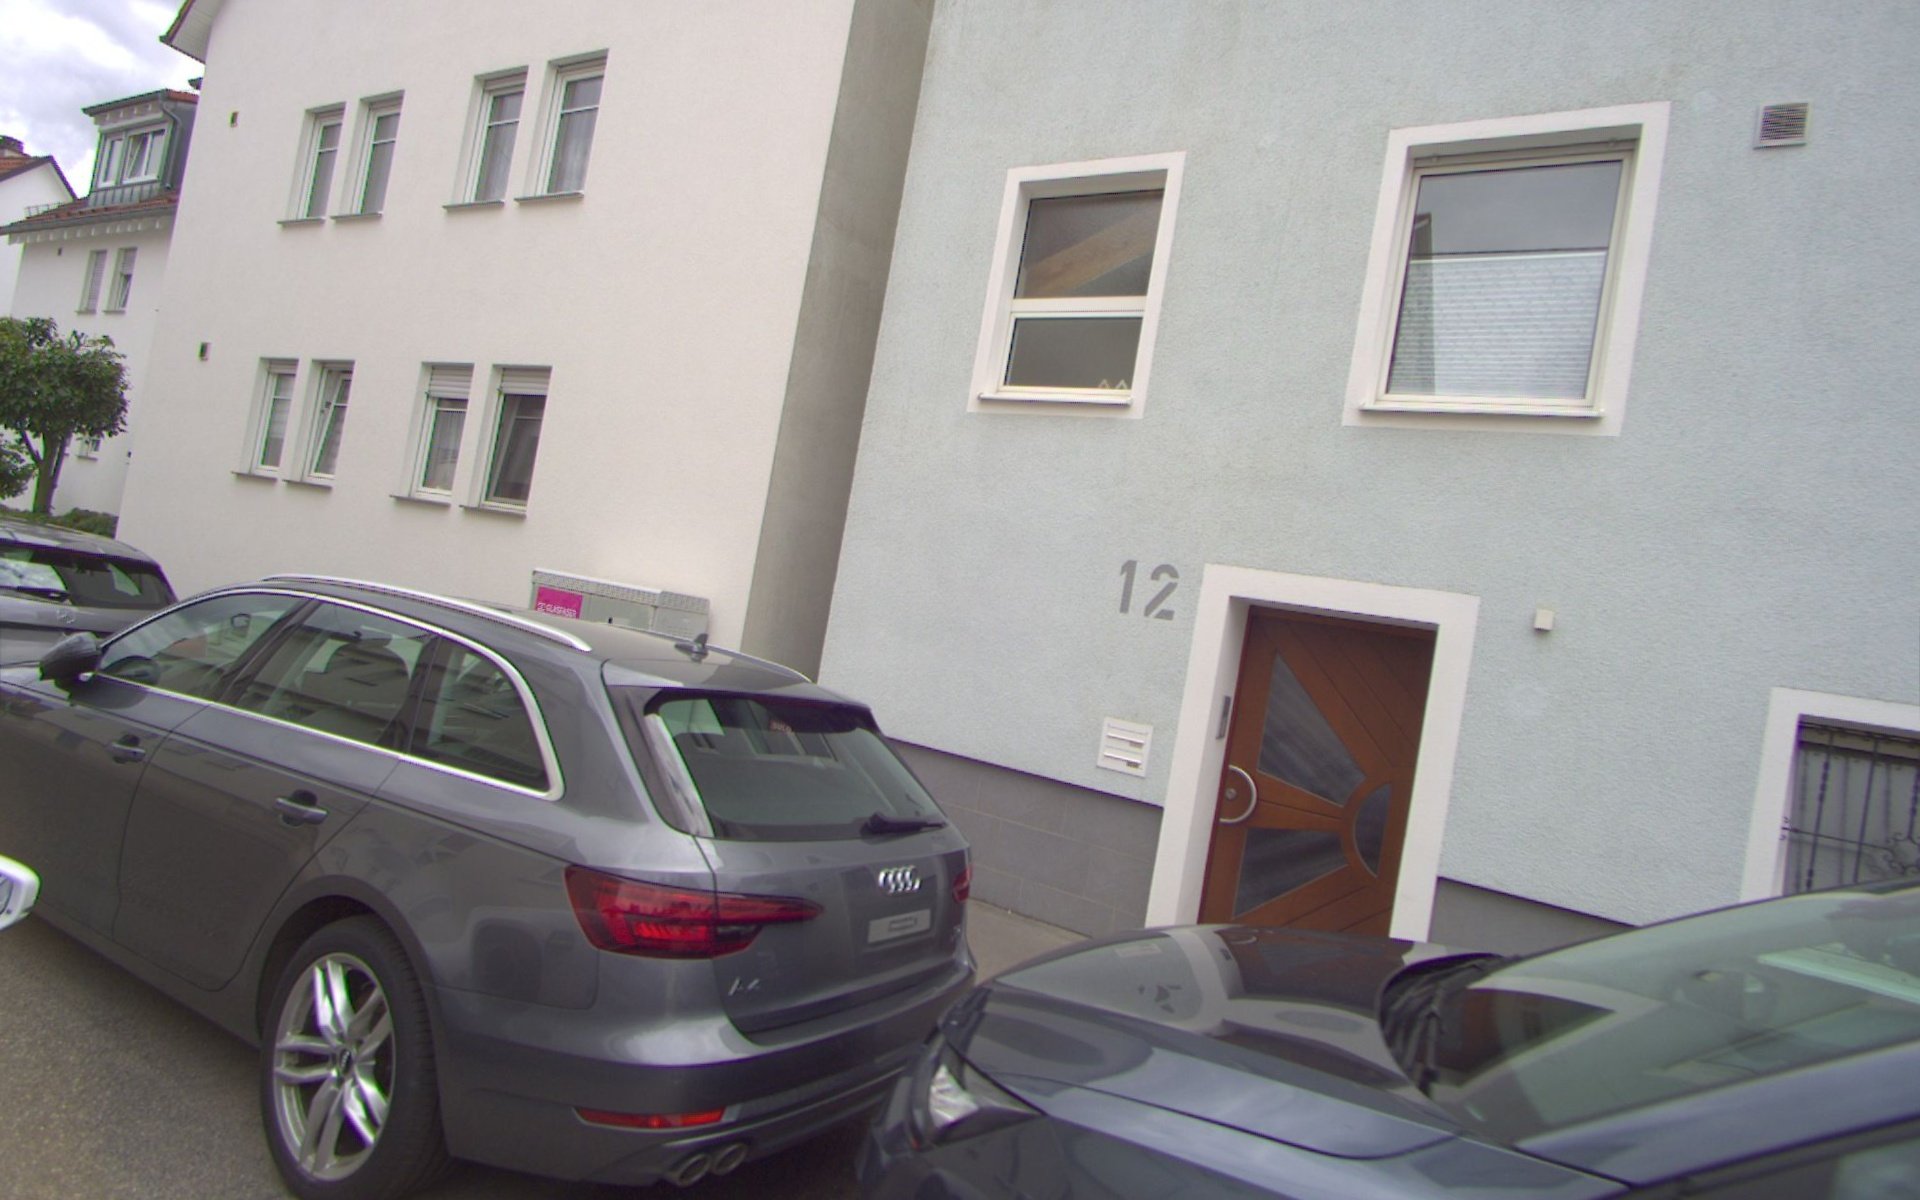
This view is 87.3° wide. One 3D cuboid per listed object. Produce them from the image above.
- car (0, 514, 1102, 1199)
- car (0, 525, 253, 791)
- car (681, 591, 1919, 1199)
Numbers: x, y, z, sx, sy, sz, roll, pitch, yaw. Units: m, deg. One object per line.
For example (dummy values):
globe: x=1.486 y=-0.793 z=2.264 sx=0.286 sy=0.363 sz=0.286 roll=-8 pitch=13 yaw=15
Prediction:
car: x=-2.040 y=0.628 z=3.722 sx=4.577 sy=1.426 sz=1.923 roll=7 pitch=-1 yaw=30
car: x=-6.557 y=0.147 z=6.361 sx=4.006 sy=1.367 sz=1.802 roll=6 pitch=-3 yaw=31
car: x=1.888 y=1.173 z=1.195 sx=4.460 sy=1.645 sz=1.759 roll=8 pitch=-4 yaw=32
